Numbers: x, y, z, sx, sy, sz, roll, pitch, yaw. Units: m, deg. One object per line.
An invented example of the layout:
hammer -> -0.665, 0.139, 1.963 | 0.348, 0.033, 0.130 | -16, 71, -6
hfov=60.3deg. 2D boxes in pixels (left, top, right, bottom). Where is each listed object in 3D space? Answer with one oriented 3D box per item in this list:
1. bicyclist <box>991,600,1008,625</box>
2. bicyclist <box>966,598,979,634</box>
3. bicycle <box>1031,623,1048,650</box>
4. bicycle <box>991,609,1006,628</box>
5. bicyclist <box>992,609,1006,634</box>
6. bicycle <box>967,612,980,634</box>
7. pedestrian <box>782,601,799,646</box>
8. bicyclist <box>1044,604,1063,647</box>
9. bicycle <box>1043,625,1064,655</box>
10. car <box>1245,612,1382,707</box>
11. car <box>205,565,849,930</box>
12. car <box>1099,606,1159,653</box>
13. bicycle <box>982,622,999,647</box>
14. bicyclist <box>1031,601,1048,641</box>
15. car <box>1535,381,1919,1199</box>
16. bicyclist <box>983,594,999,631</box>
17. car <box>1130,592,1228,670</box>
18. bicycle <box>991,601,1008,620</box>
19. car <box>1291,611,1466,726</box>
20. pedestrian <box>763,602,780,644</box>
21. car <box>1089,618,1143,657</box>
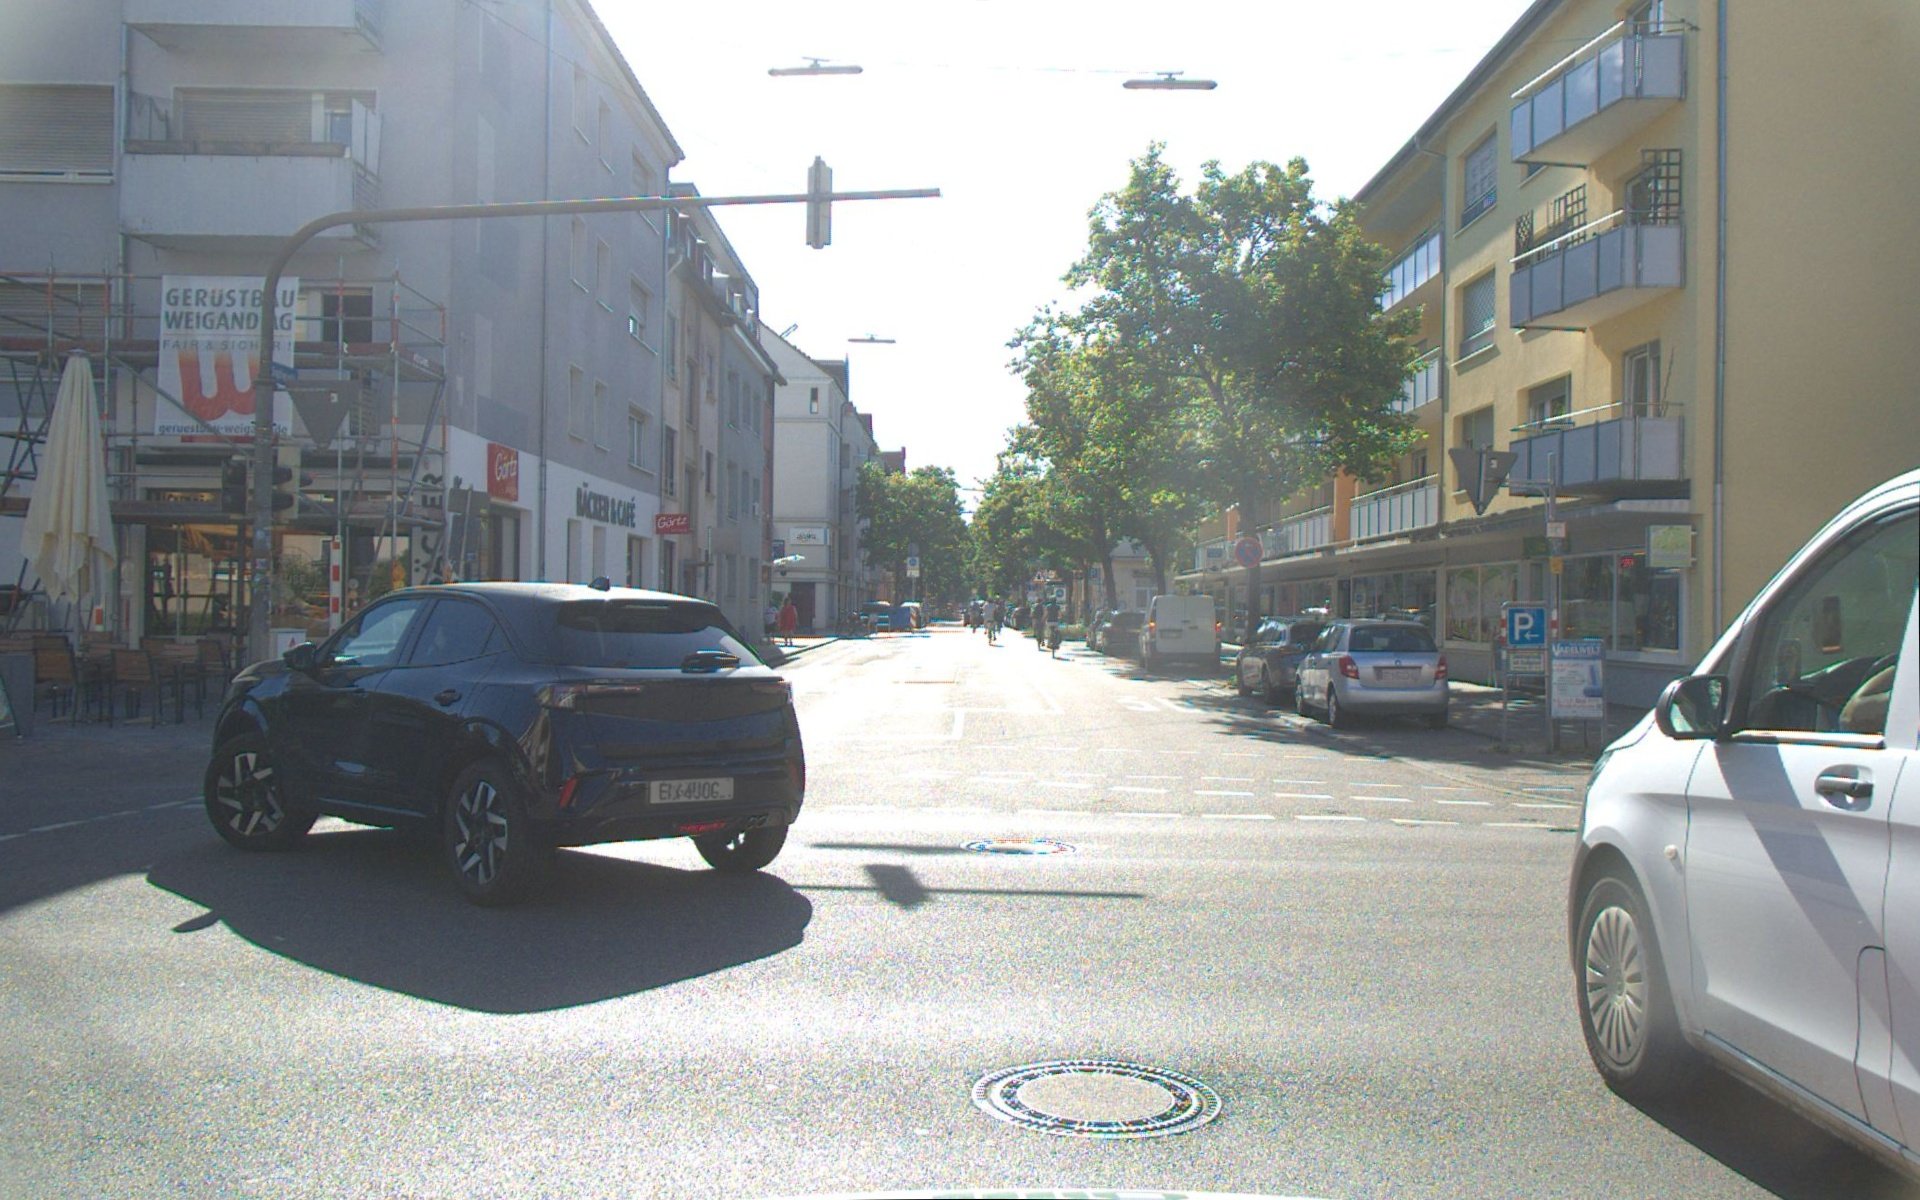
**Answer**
bicyclist -> 2.146, 0.674, 90.197 | 0.839, 1.337, 1.210 | 3, 0, 0
bicyclist -> 0.629, 0.776, 80.495 | 0.619, 1.698, 1.050 | 0, 0, 0
bicycle -> 2.791, 1.282, 58.312 | 0.535, 0.881, 1.876 | 1, 0, 1
bicycle -> 1.879, 0.907, 80.915 | 0.677, 0.881, 1.876 | 1, 0, 1
bicyclist -> 1.885, 1.041, 80.821 | 0.677, 1.214, 0.595 | 1, 0, 1
bicycle -> 0.639, 1.099, 80.866 | 0.619, 1.059, 1.795 | 0, 0, 0
pedestrian -> -6.057, 0.846, 59.177 | 0.565, 1.610, 0.707 | 1, 0, -5
bicyclist -> 2.836, 0.767, 50.162 | 0.535, 1.284, 0.803 | 1, 0, 1
bicycle -> 2.826, 1.197, 50.049 | 0.535, 0.881, 1.876 | 1, 0, 1
car -> 6.067, 0.979, 28.706 | 1.677, 1.509, 3.381 | 1, 0, 0
car -> -2.565, 0.647, 9.218 | 1.755, 1.586, 3.934 | 1, -1, -45
car -> 5.595, 0.950, 55.023 | 1.677, 1.509, 3.381 | 1, 0, 0
bicycle -> 1.155, 1.282, 62.034 | 0.607, 0.881, 1.876 | 1, 0, 1
bicyclist -> 2.795, 0.733, 58.229 | 0.535, 1.406, 0.823 | 1, 0, 1
car -> 2.927, 0.481, 3.090 | 1.928, 1.842, 4.831 | 1, -1, -1
bicyclist -> 1.163, 0.468, 62.189 | 0.576, 1.406, 0.823 | 1, 0, 1
car -> 5.581, 0.754, 42.675 | 2.004, 1.879, 4.584 | 1, 0, 1
bicycle -> 2.154, 0.583, 90.221 | 0.839, 0.961, 2.307 | 3, 0, 0
car -> 6.016, 0.939, 24.140 | 1.677, 1.509, 3.480 | 1, 0, 0
pedestrian -> -6.762, 0.823, 59.363 | 0.565, 1.493, 0.702 | 1, 0, -5
car -> 5.739, 1.361, 60.982 | 1.677, 1.337, 3.381 | 1, 0, 0
